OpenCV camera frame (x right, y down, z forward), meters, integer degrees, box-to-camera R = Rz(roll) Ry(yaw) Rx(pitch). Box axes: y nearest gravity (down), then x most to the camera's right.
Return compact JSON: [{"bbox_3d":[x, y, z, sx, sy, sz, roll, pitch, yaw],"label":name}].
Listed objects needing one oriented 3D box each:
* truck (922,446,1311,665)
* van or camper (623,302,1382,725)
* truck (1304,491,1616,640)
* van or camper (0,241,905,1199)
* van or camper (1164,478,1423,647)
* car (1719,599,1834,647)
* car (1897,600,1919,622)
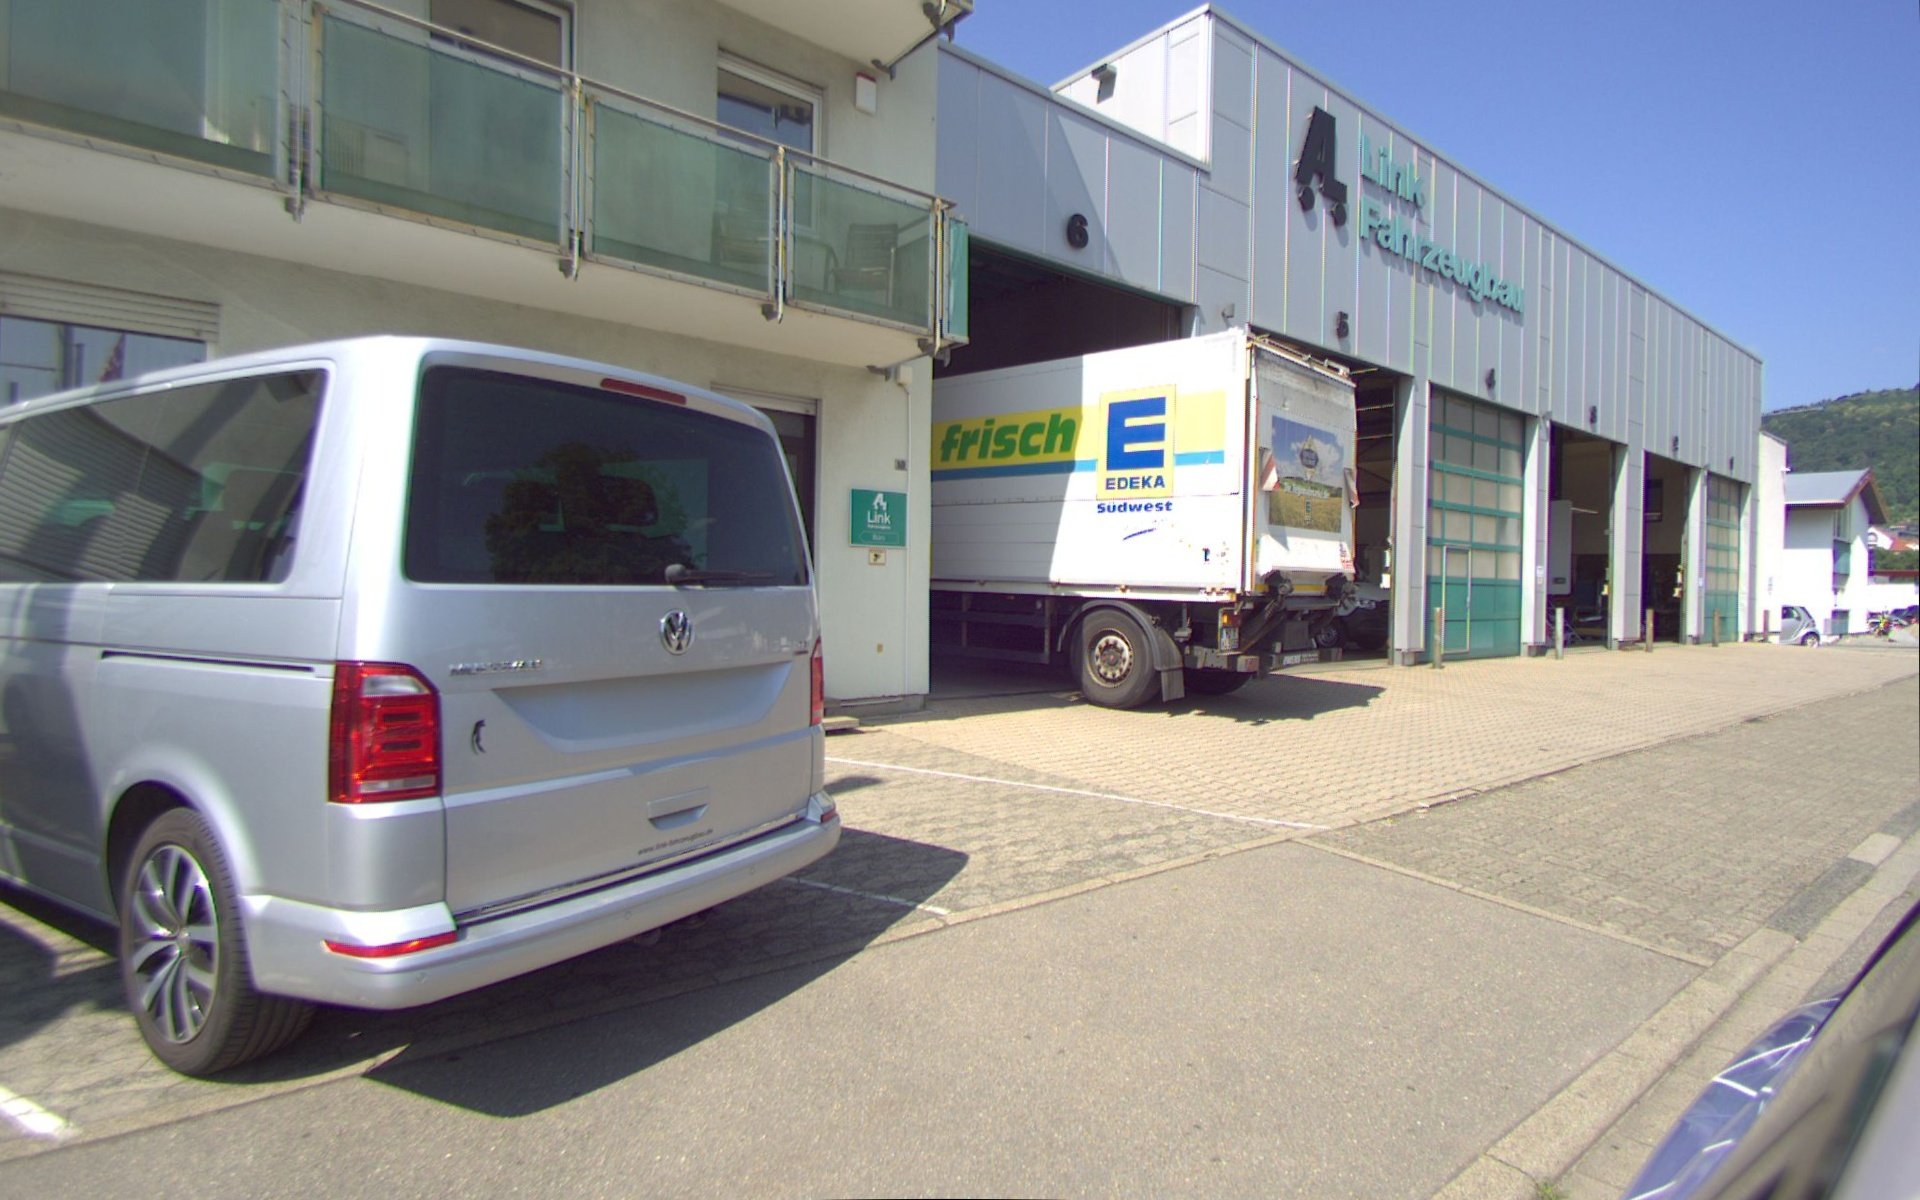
[{"bbox_3d":[2.599,-0.832,19.798,2.434,3.446,7.972,0,2,-38],"label":"truck"},{"bbox_3d":[-0.566,-0.941,14.005,11.603,3.739,2.737,2,1,44],"label":"van or camper"},{"bbox_3d":[14.440,-1.008,29.921,2.577,3.828,7.856,1,1,-38],"label":"truck"},{"bbox_3d":[-2.655,0.166,4.033,4.519,1.931,1.978,3,1,31],"label":"van or camper"},{"bbox_3d":[7.079,-0.778,21.994,1.965,3.246,5.051,0,1,-41],"label":"van or camper"},{"bbox_3d":[28.082,0.773,34.858,2.772,1.553,1.311,2,-1,4],"label":"car"},{"bbox_3d":[62.310,0.700,66.027,3.133,1.396,1.450,0,-1,-43],"label":"car"}]
